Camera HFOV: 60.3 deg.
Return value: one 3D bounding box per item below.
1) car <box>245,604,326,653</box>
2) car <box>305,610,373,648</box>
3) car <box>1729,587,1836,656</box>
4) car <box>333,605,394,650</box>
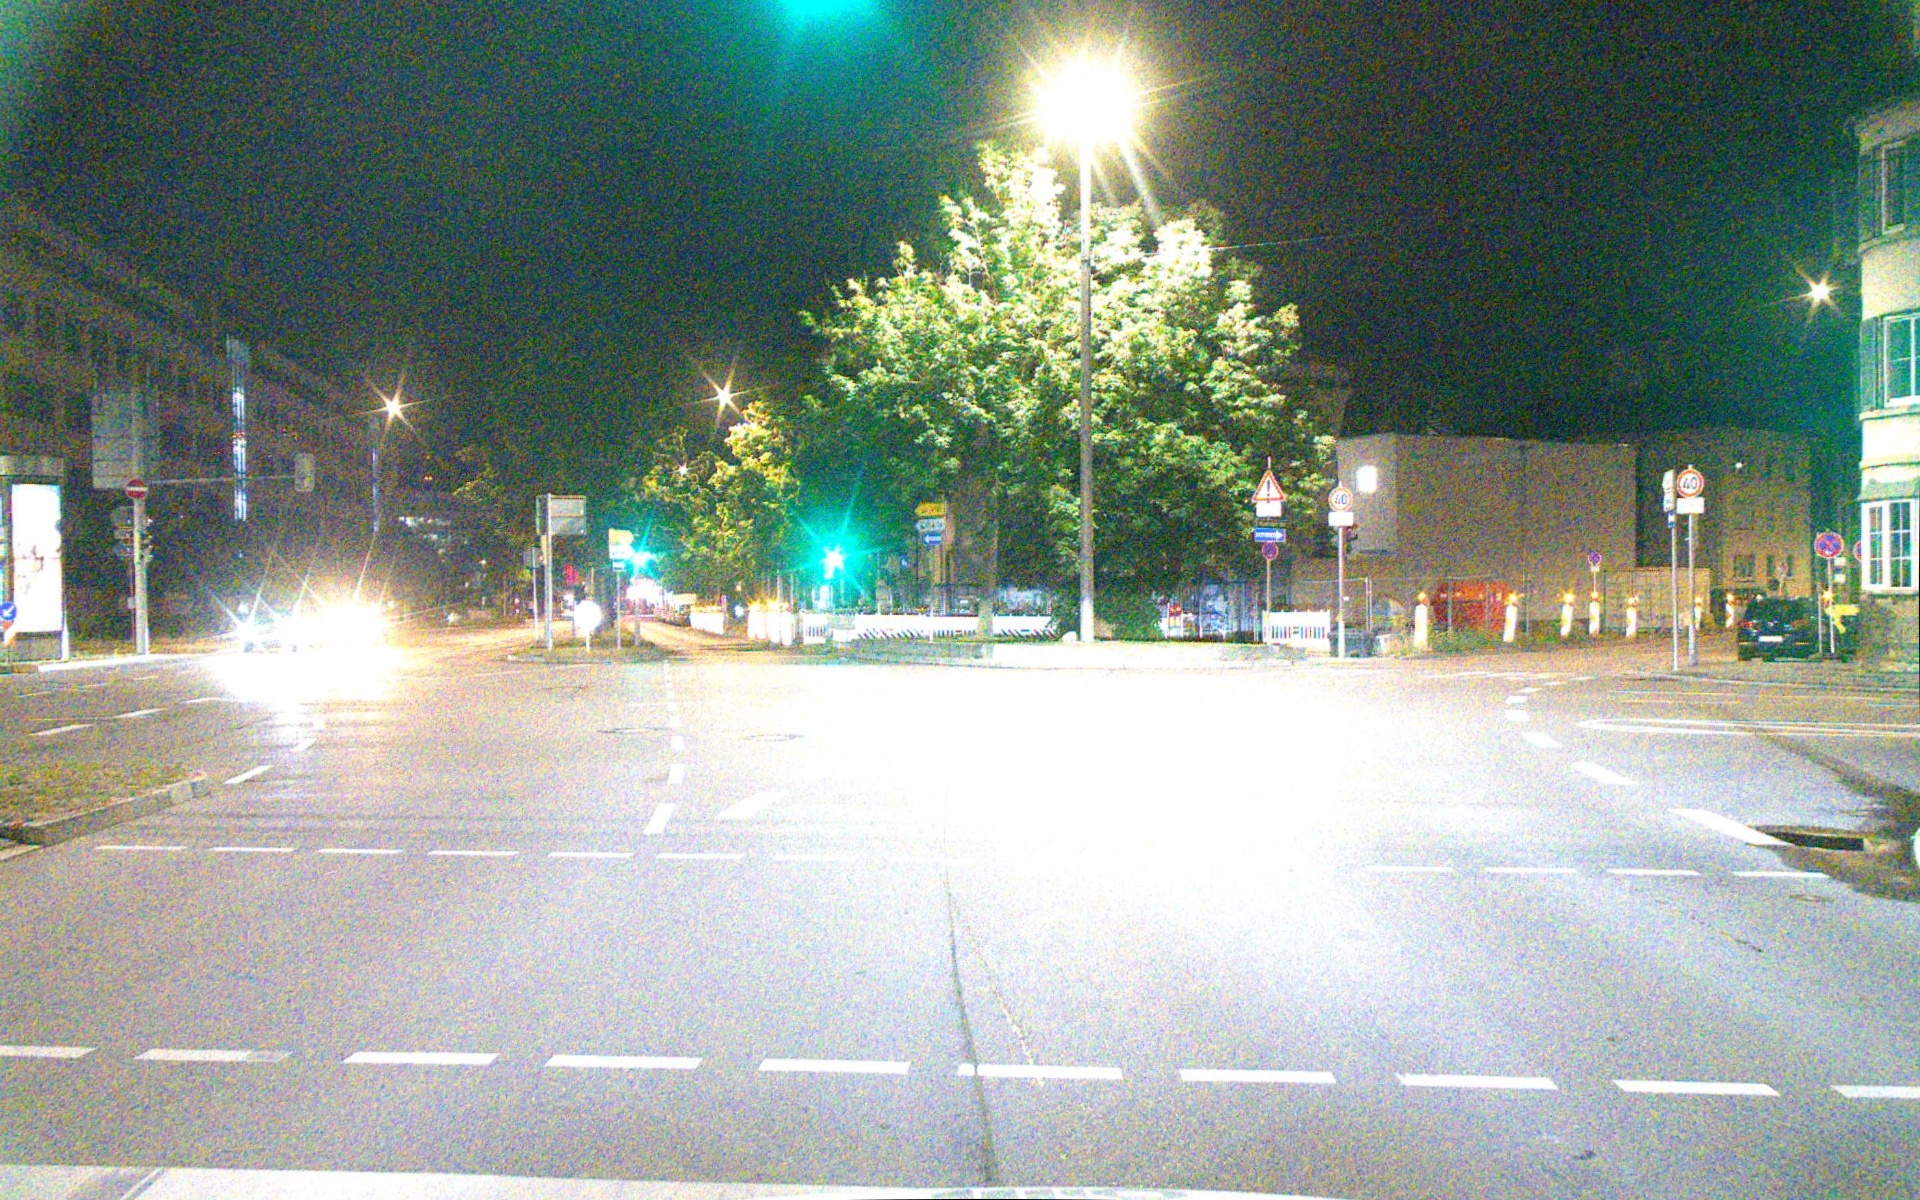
[{"bbox_3d":[-21.882,0.917,53.798,1.586,1.541,3.991,0,-1,-9],"label":"car"},{"bbox_3d":[-22.912,1.053,61.117,1.726,1.345,3.539,0,-1,-10],"label":"car"},{"bbox_3d":[20.516,0.539,41.194,1.700,1.640,3.607,-1,-1,38],"label":"car"},{"bbox_3d":[-23.918,1.090,66.402,1.726,1.758,3.539,0,-1,-10],"label":"car"}]
